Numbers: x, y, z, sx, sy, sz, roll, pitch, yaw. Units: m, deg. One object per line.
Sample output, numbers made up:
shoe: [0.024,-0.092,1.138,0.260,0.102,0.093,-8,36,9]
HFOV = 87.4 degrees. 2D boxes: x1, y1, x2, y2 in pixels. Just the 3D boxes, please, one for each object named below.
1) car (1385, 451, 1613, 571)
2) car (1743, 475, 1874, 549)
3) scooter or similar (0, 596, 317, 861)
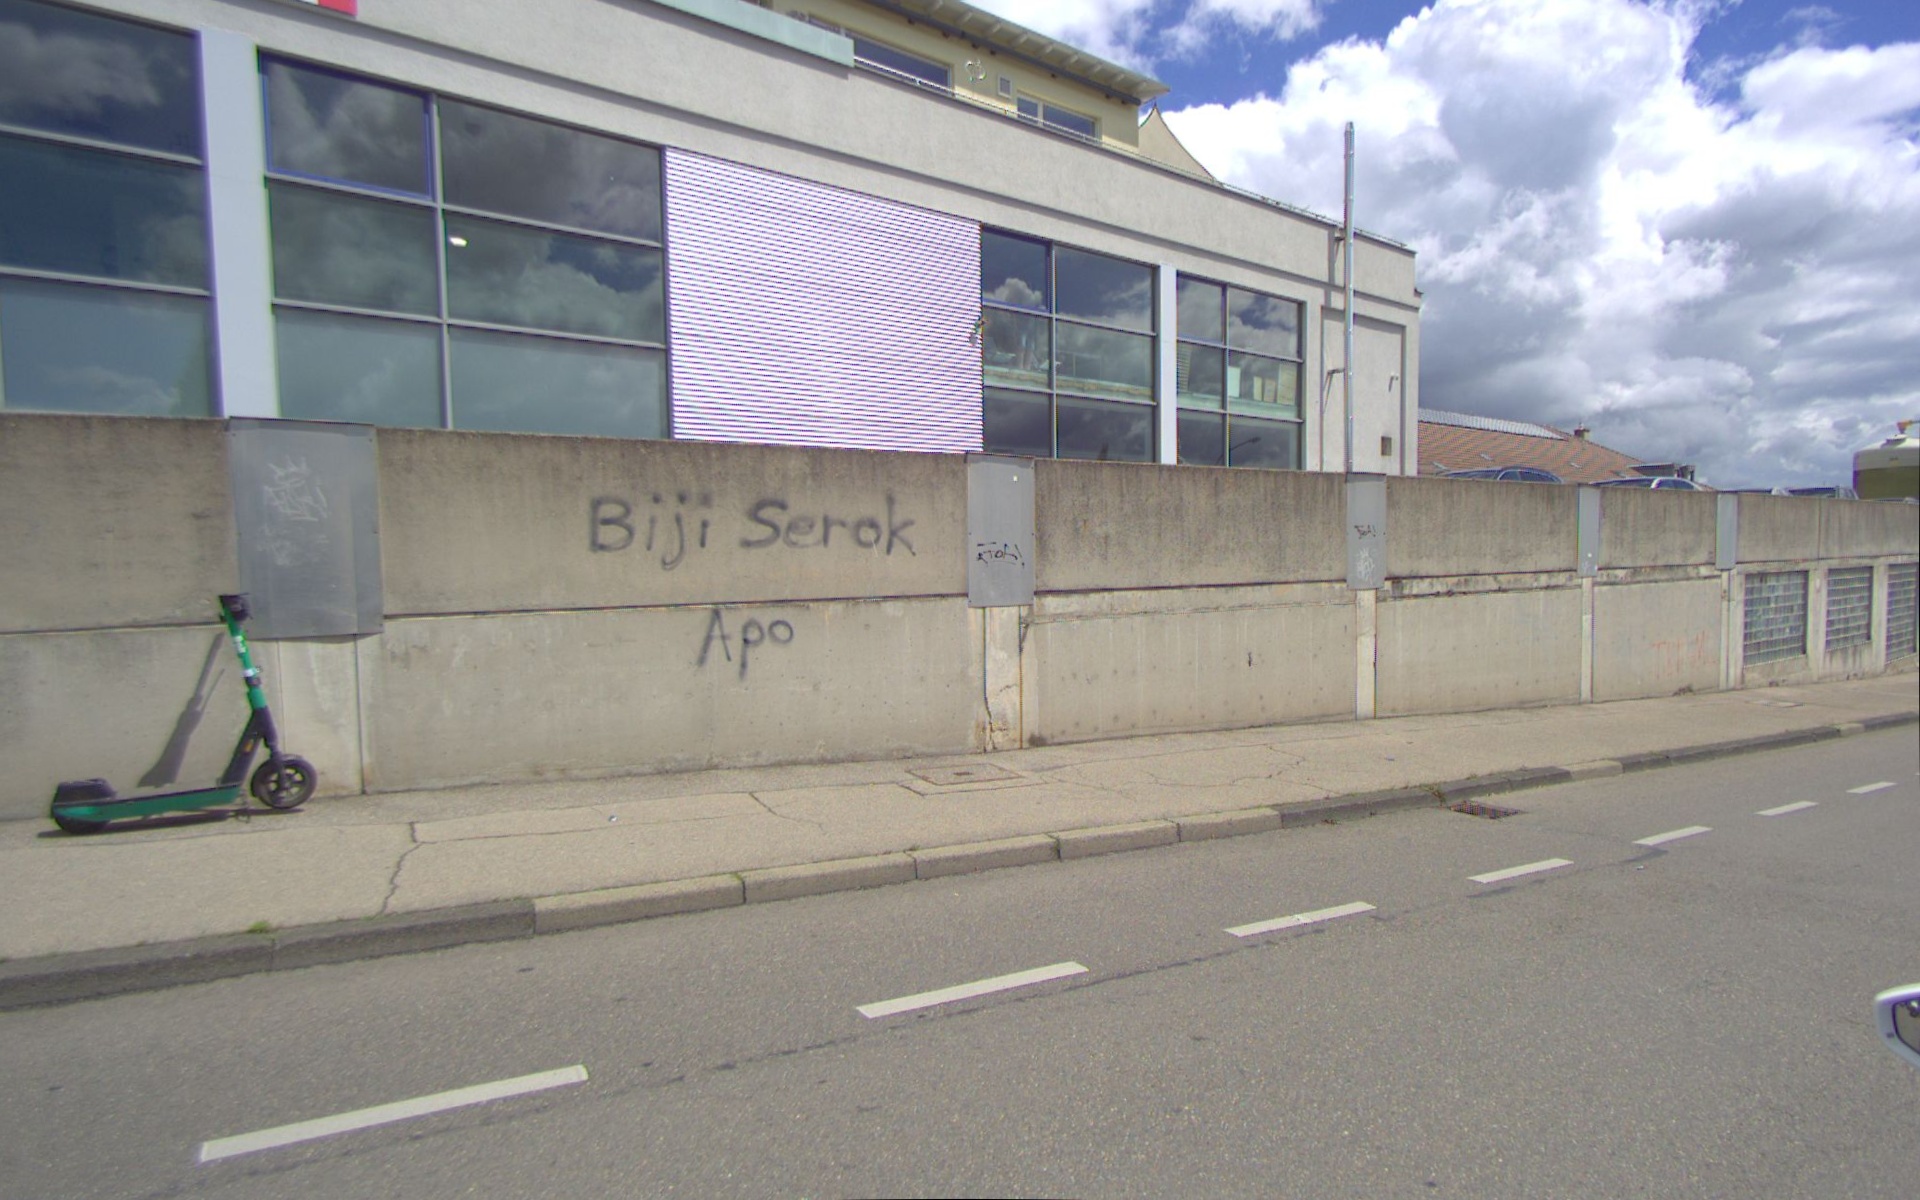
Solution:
car: [9.185,-1.396,17.009,4.065,1.658,1.793,1,1,-36]
car: [23.179,-2.337,27.391,4.065,1.658,1.793,1,1,-36]
scooter or similar: [-4.429,0.649,5.596,1.371,1.293,0.515,1,3,-39]
